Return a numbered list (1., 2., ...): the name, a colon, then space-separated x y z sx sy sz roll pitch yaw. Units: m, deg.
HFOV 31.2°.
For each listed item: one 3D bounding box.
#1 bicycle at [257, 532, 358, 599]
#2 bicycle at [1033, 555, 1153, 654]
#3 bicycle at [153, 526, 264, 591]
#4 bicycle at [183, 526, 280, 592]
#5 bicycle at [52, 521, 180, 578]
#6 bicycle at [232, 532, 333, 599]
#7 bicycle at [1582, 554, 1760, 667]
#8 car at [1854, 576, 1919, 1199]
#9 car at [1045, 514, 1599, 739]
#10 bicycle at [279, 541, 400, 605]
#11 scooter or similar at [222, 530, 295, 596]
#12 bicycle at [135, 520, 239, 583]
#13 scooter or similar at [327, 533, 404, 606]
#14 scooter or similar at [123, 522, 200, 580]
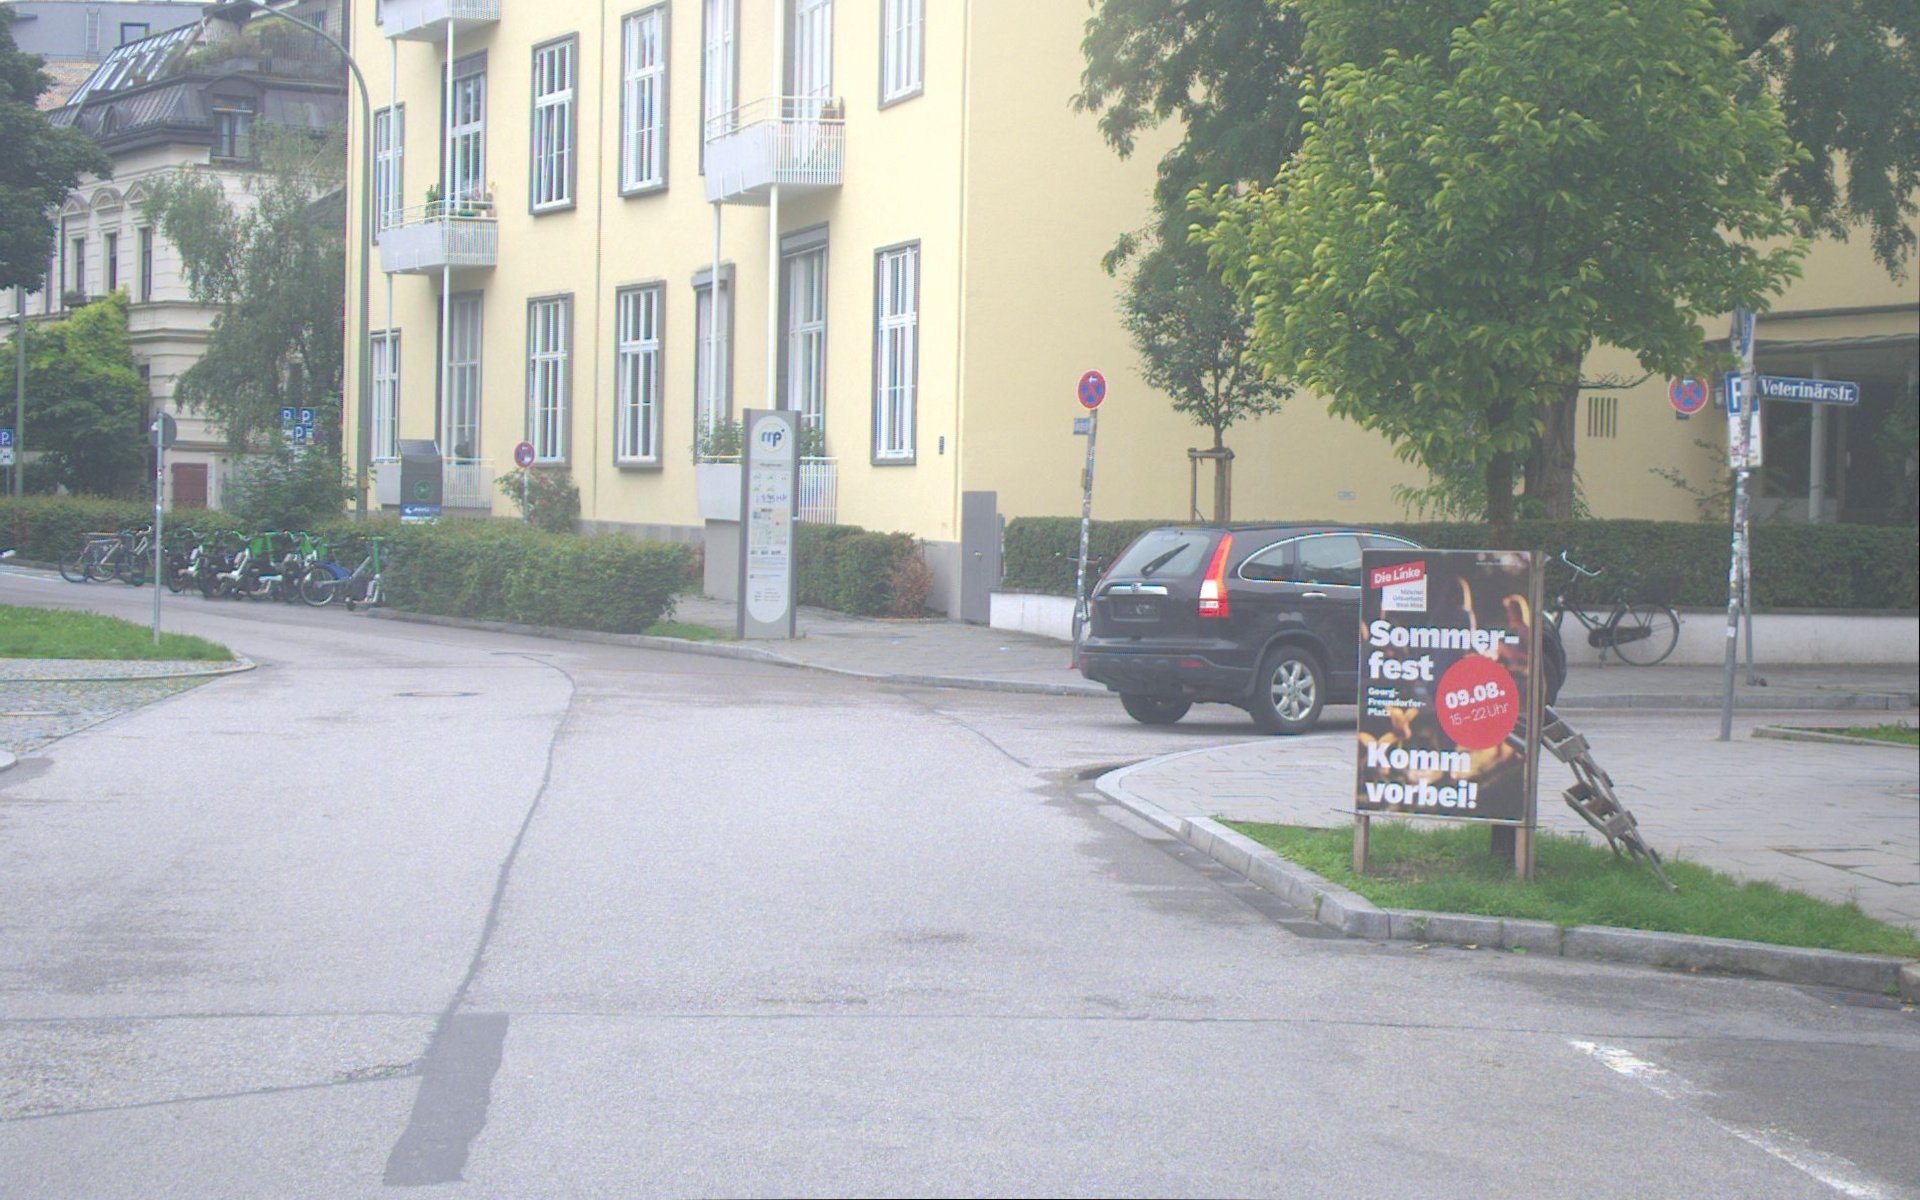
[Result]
1. bicycle: -10.941 -0.588 57.670 0.576 1.082 1.930 1 2 28
2. bicycle: 1.532 0.038 40.059 0.608 1.069 2.218 0 2 -20
3. bicycle: -13.012 -0.734 59.593 0.696 1.082 2.336 1 2 21
4. bicycle: -12.466 -0.708 58.882 0.638 1.082 1.983 1 2 21
5. bicycle: -16.433 -0.994 66.988 2.331 1.082 0.693 -1 2 -33
6. bicycle: -11.461 -0.595 58.215 0.576 1.082 1.930 1 2 28
7. bicycle: 7.527 0.110 36.415 1.735 1.146 0.610 1 1 1
8. car: 3.284 0.826 6.382 1.703 1.513 3.960 5 1 -7
9. car: 3.030 0.186 28.346 4.367 1.688 2.001 0 2 -39
10. bicycle: -10.015 -0.449 55.503 1.823 1.002 0.577 -1 2 -31
11. scooter or similar: -11.945 -0.637 58.557 0.496 1.084 1.408 1 2 24
12. bicycle: -13.781 -0.875 61.337 0.763 1.082 2.139 1 2 21
13. scooter or similar: -9.373 -0.489 54.231 0.496 1.105 1.408 1 2 24
14. scooter or similar: -15.170 -0.935 65.352 1.404 1.084 0.597 0 2 -10
